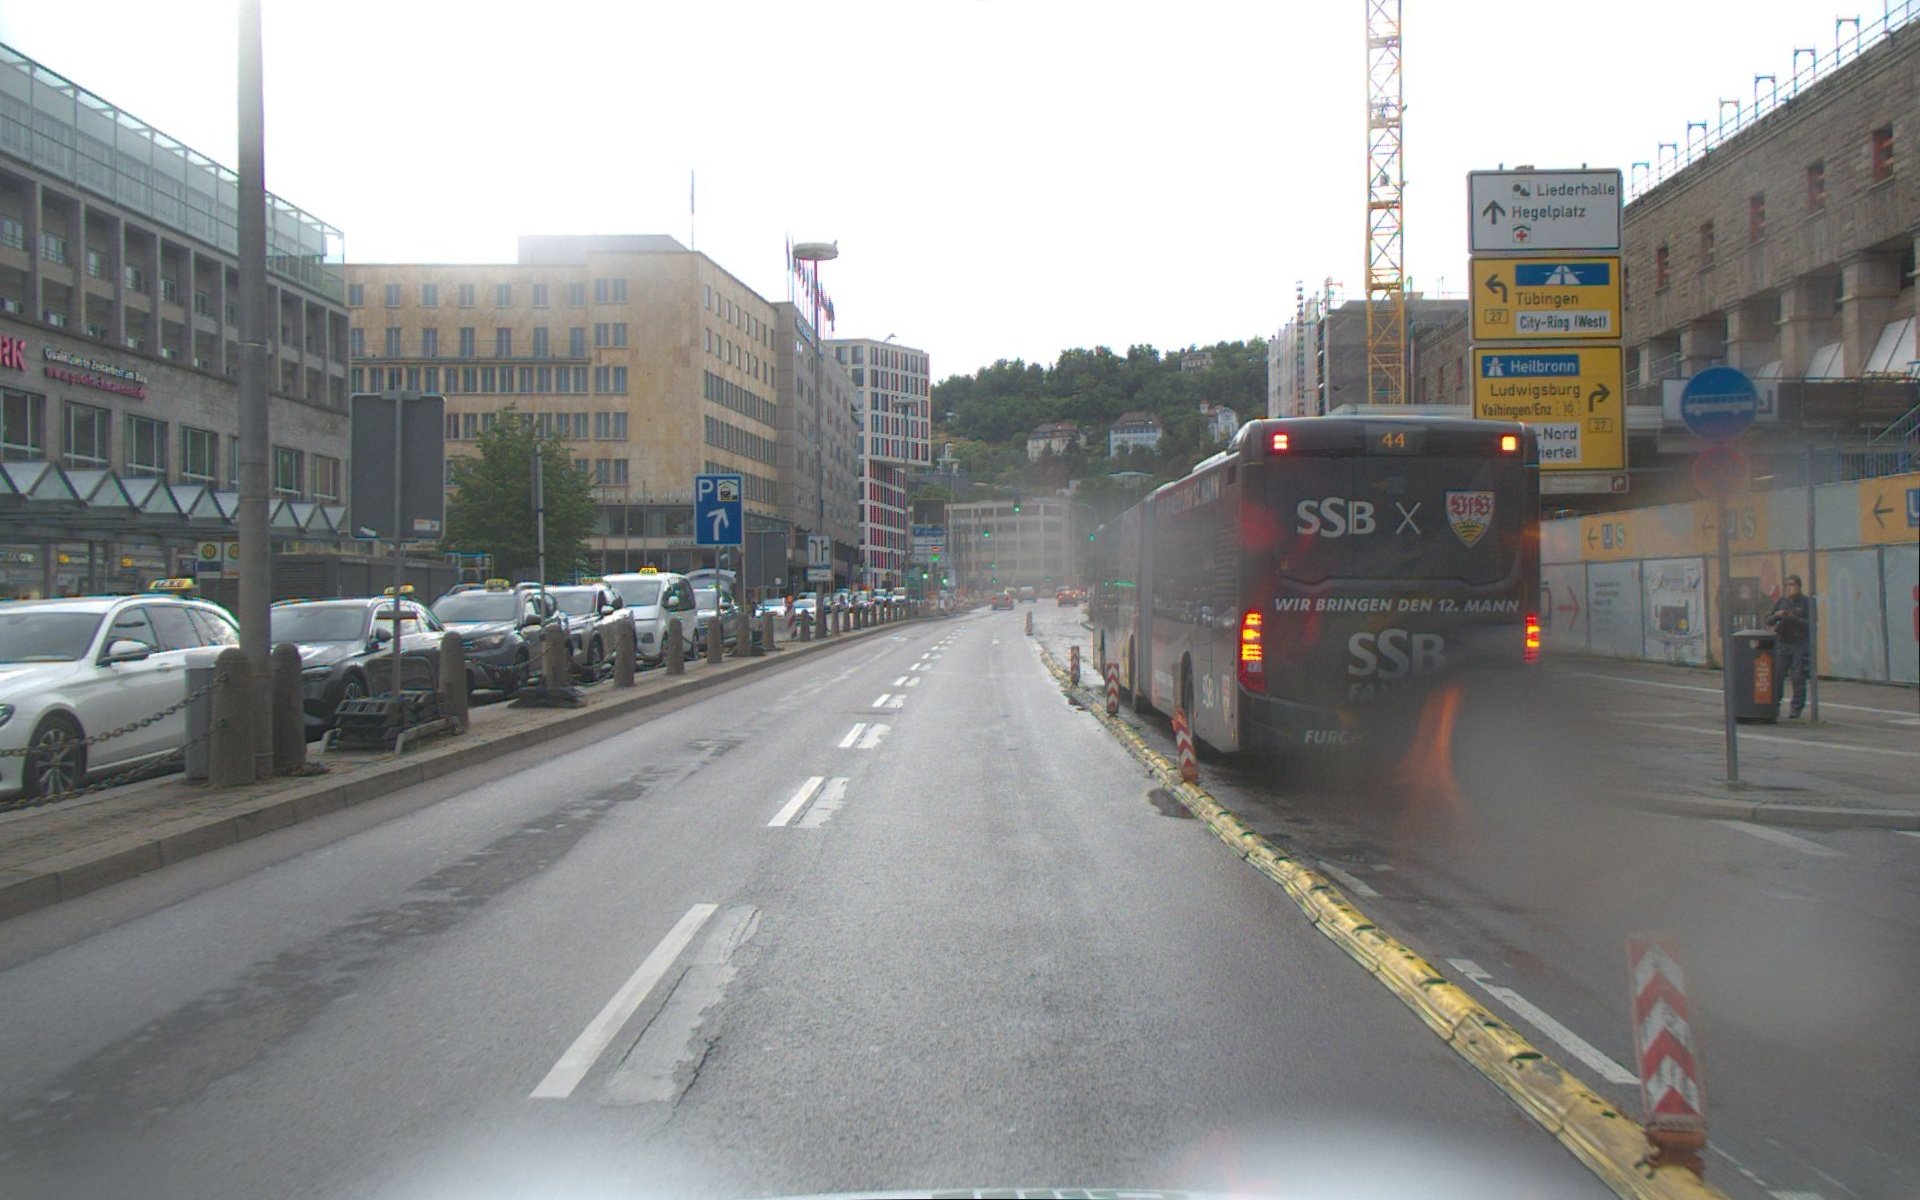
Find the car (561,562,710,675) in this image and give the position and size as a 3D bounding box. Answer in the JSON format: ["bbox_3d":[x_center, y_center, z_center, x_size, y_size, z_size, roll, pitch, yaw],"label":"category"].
[{"bbox_3d":[-6.859,0.340,35.601,1.952,2.216,5.545,-1,1,1],"label":"car"}]

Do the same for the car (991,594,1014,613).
[{"bbox_3d":[3.667,0.276,143.680,1.952,1.579,4.001,-1,0,1],"label":"car"}]

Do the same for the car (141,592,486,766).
[{"bbox_3d":[-7.008,0.761,18.614,1.890,1.604,5.051,-2,0,-1],"label":"car"}]

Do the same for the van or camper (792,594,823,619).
[{"bbox_3d":[-13.043,0.524,141.738,1.952,2.049,4.967,-1,0,3],"label":"van or camper"}]

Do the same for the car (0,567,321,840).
[{"bbox_3d":[-6.937,0.674,12.825,1.936,1.688,5.192,-2,0,-1],"label":"car"}]

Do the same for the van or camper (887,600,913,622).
[{"bbox_3d":[-5.664,1.002,156.139,1.952,2.049,5.192,-1,0,4],"label":"van or camper"}]

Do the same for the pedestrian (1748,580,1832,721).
[{"bbox_3d":[10.109,0.596,20.153,0.889,1.664,0.827,0,0,28],"label":"pedestrian"}]

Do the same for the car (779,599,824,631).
[{"bbox_3d":[-8.913,0.806,93.287,1.922,1.591,4.836,-3,1,1],"label":"car"}]

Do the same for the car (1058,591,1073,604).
[{"bbox_3d":[13.335,-0.331,210.077,1.781,1.467,4.002,1,1,2],"label":"car"}]

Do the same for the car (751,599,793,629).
[{"bbox_3d":[-11.510,0.821,101.428,1.922,1.591,4.836,-3,1,1],"label":"car"}]

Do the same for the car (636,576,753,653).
[{"bbox_3d":[-6.485,0.303,40.919,1.952,1.752,4.783,-1,1,2],"label":"car"}]

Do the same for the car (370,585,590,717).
[{"bbox_3d":[-7.087,0.686,24.988,1.890,1.728,4.884,-2,0,-1],"label":"car"}]

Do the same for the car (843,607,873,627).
[{"bbox_3d":[-8.911,1.459,145.323,1.951,1.645,4.980,-1,0,4],"label":"car"}]

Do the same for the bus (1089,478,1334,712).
[{"bbox_3d":[3.742,-0.081,26.787,2.698,3.119,8.994,0,0,1],"label":"bus"}]

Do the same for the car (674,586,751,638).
[{"bbox_3d":[-7.936,0.367,53.380,1.953,1.579,3.999,-1,0,-2],"label":"car"}]

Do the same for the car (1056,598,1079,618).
[{"bbox_3d":[9.970,0.748,153.441,1.952,1.735,4.001,-1,0,2],"label":"car"}]

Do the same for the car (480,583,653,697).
[{"bbox_3d":[-7.046,0.662,30.102,1.890,1.837,4.583,-2,0,1],"label":"car"}]

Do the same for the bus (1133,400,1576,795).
[{"bbox_3d":[3.618,-0.033,17.729,2.698,3.122,9.081,0,0,1],"label":"bus"}]
